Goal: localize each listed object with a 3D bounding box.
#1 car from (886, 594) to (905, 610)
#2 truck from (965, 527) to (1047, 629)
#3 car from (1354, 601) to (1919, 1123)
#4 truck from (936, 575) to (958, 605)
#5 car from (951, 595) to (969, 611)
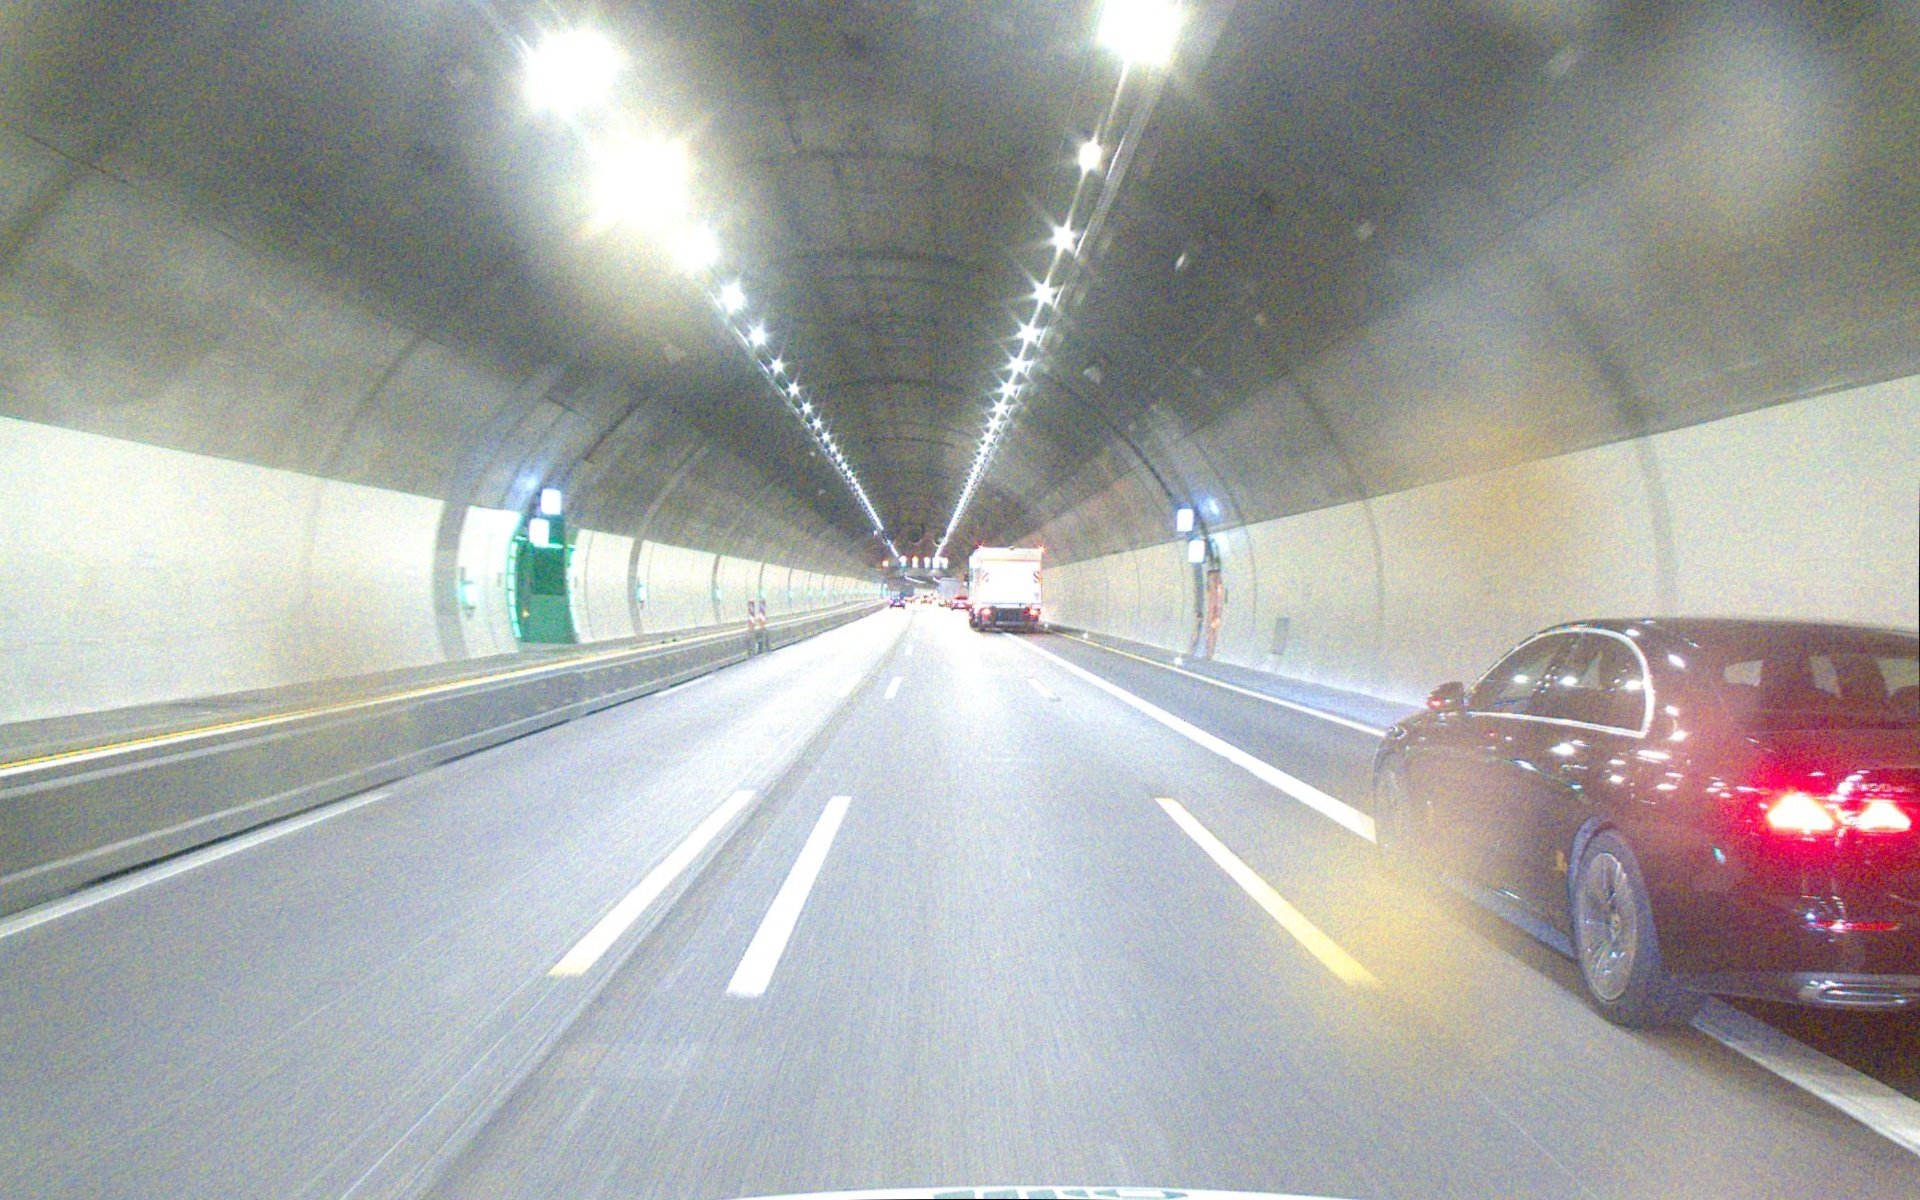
[{"bbox_3d":[-6.387,0.189,164.234,1.723,1.486,4.118,1,1,-1],"label":"car"},{"bbox_3d":[1.846,-0.814,71.034,3.029,3.986,10.365,1,-1,-1],"label":"truck"},{"bbox_3d":[3.302,0.764,7.250,1.886,1.498,4.953,1,0,-1],"label":"car"},{"bbox_3d":[-1.784,-1.403,238.085,3.003,3.986,10.367,1,-1,0],"label":"truck"},{"bbox_3d":[0.012,0.299,158.816,1.704,1.486,3.960,1,1,0],"label":"car"}]
